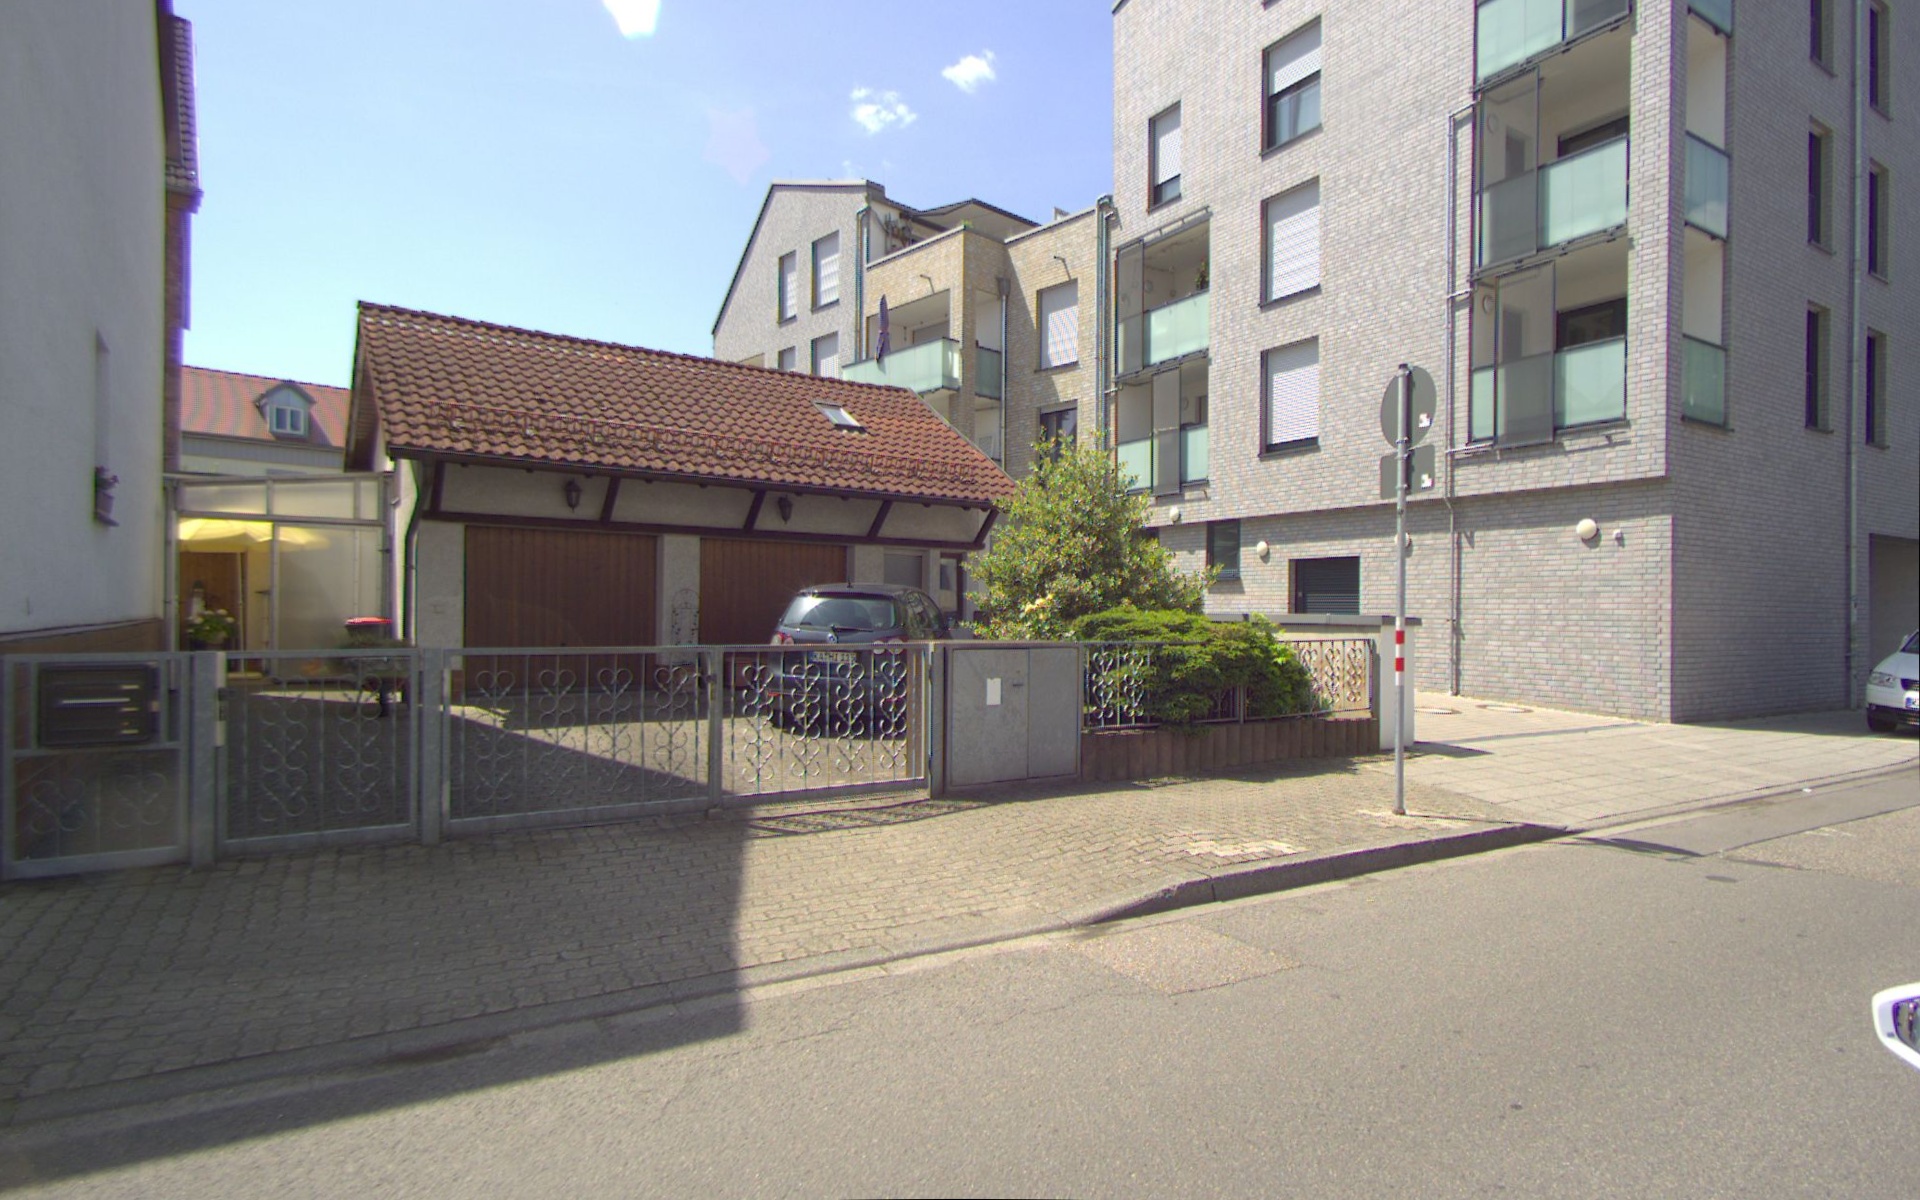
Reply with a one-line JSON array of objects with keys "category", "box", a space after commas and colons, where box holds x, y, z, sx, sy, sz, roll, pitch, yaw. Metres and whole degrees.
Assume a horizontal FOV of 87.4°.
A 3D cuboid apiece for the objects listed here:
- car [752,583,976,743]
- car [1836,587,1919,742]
[{"category": "car", "box": [-0.978, 0.616, 12.027, 1.605, 1.560, 3.565, 2, 1, 13]}, {"category": "car", "box": [13.945, 0.855, 13.547, 4.282, 1.917, 1.750, 1, 2, -28]}]
